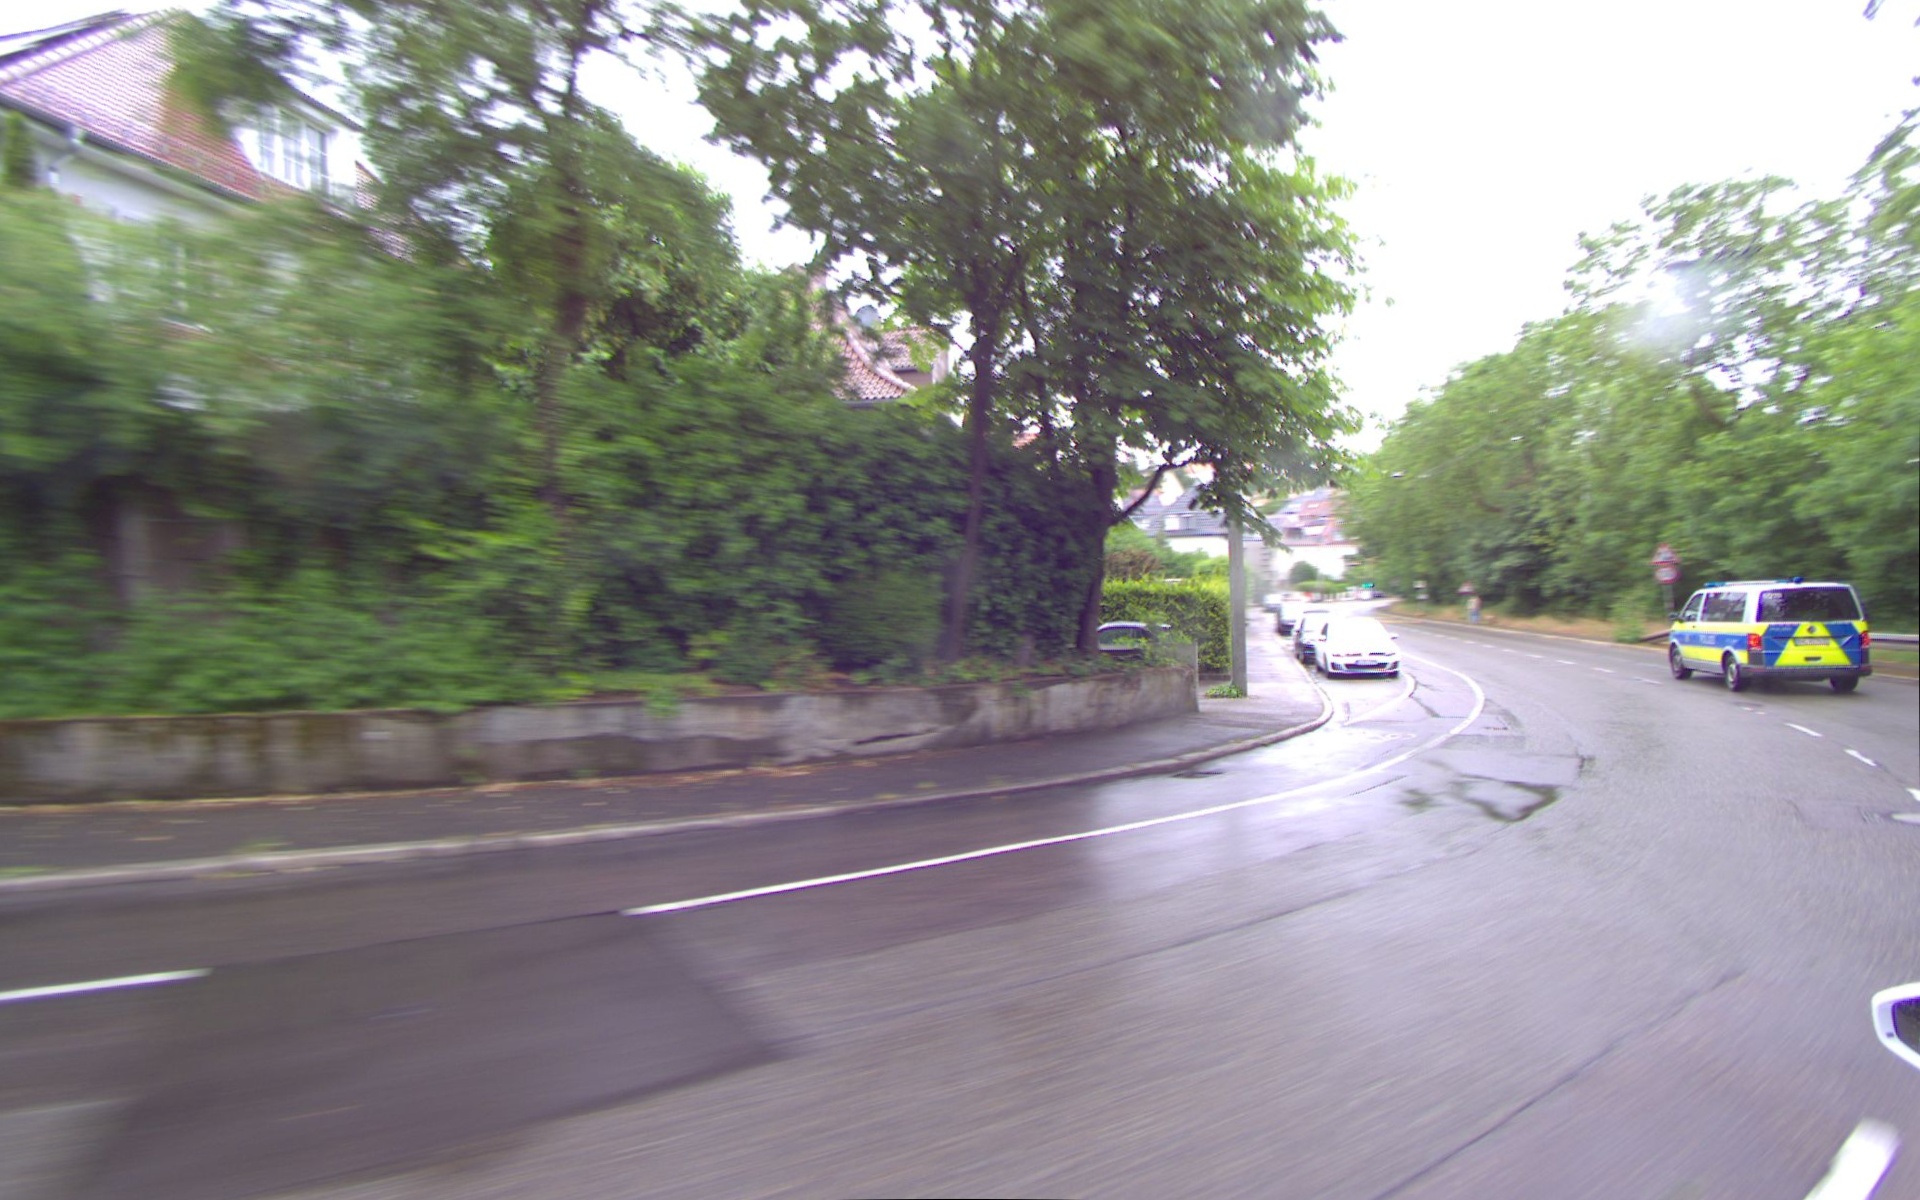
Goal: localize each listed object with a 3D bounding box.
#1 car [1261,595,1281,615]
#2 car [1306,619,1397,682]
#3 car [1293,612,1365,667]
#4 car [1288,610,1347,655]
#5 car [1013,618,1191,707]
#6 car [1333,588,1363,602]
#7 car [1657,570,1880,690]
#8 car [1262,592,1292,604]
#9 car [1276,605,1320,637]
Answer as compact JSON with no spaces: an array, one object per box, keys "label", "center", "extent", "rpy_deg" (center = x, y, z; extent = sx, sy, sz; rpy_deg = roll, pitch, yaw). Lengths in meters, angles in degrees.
[{"label":"car","center":[29.702,0.446,95.810],"extent":[1.725,1.680,4.405],"rpy_deg":[-3,0,17]},{"label":"car","center":[10.363,1.289,26.845],"extent":[1.703,1.441,4.285],"rpy_deg":[-1,0,14]},{"label":"car","center":[11.798,1.217,32.334],"extent":[1.669,1.545,4.425],"rpy_deg":[-1,0,14]},{"label":"car","center":[13.077,1.166,36.938],"extent":[1.669,1.487,3.712],"rpy_deg":[-1,0,14]},{"label":"car","center":[2.815,1.181,19.792],"extent":[3.279,1.540,1.824],"rpy_deg":[2,0,11]},{"label":"car","center":[59.535,-0.787,154.277],"extent":[1.817,2.041,3.949],"rpy_deg":[-1,1,-43]},{"label":"car","center":[15.515,0.575,19.612],"extent":[1.961,2.040,4.402],"rpy_deg":[-2,-1,19]},{"label":"car","center":[42.621,-0.262,135.040],"extent":[1.812,1.463,3.979],"rpy_deg":[-1,1,-22]},{"label":"car","center":[17.250,1.029,51.371],"extent":[1.659,1.437,4.217],"rpy_deg":[-3,0,13]}]
